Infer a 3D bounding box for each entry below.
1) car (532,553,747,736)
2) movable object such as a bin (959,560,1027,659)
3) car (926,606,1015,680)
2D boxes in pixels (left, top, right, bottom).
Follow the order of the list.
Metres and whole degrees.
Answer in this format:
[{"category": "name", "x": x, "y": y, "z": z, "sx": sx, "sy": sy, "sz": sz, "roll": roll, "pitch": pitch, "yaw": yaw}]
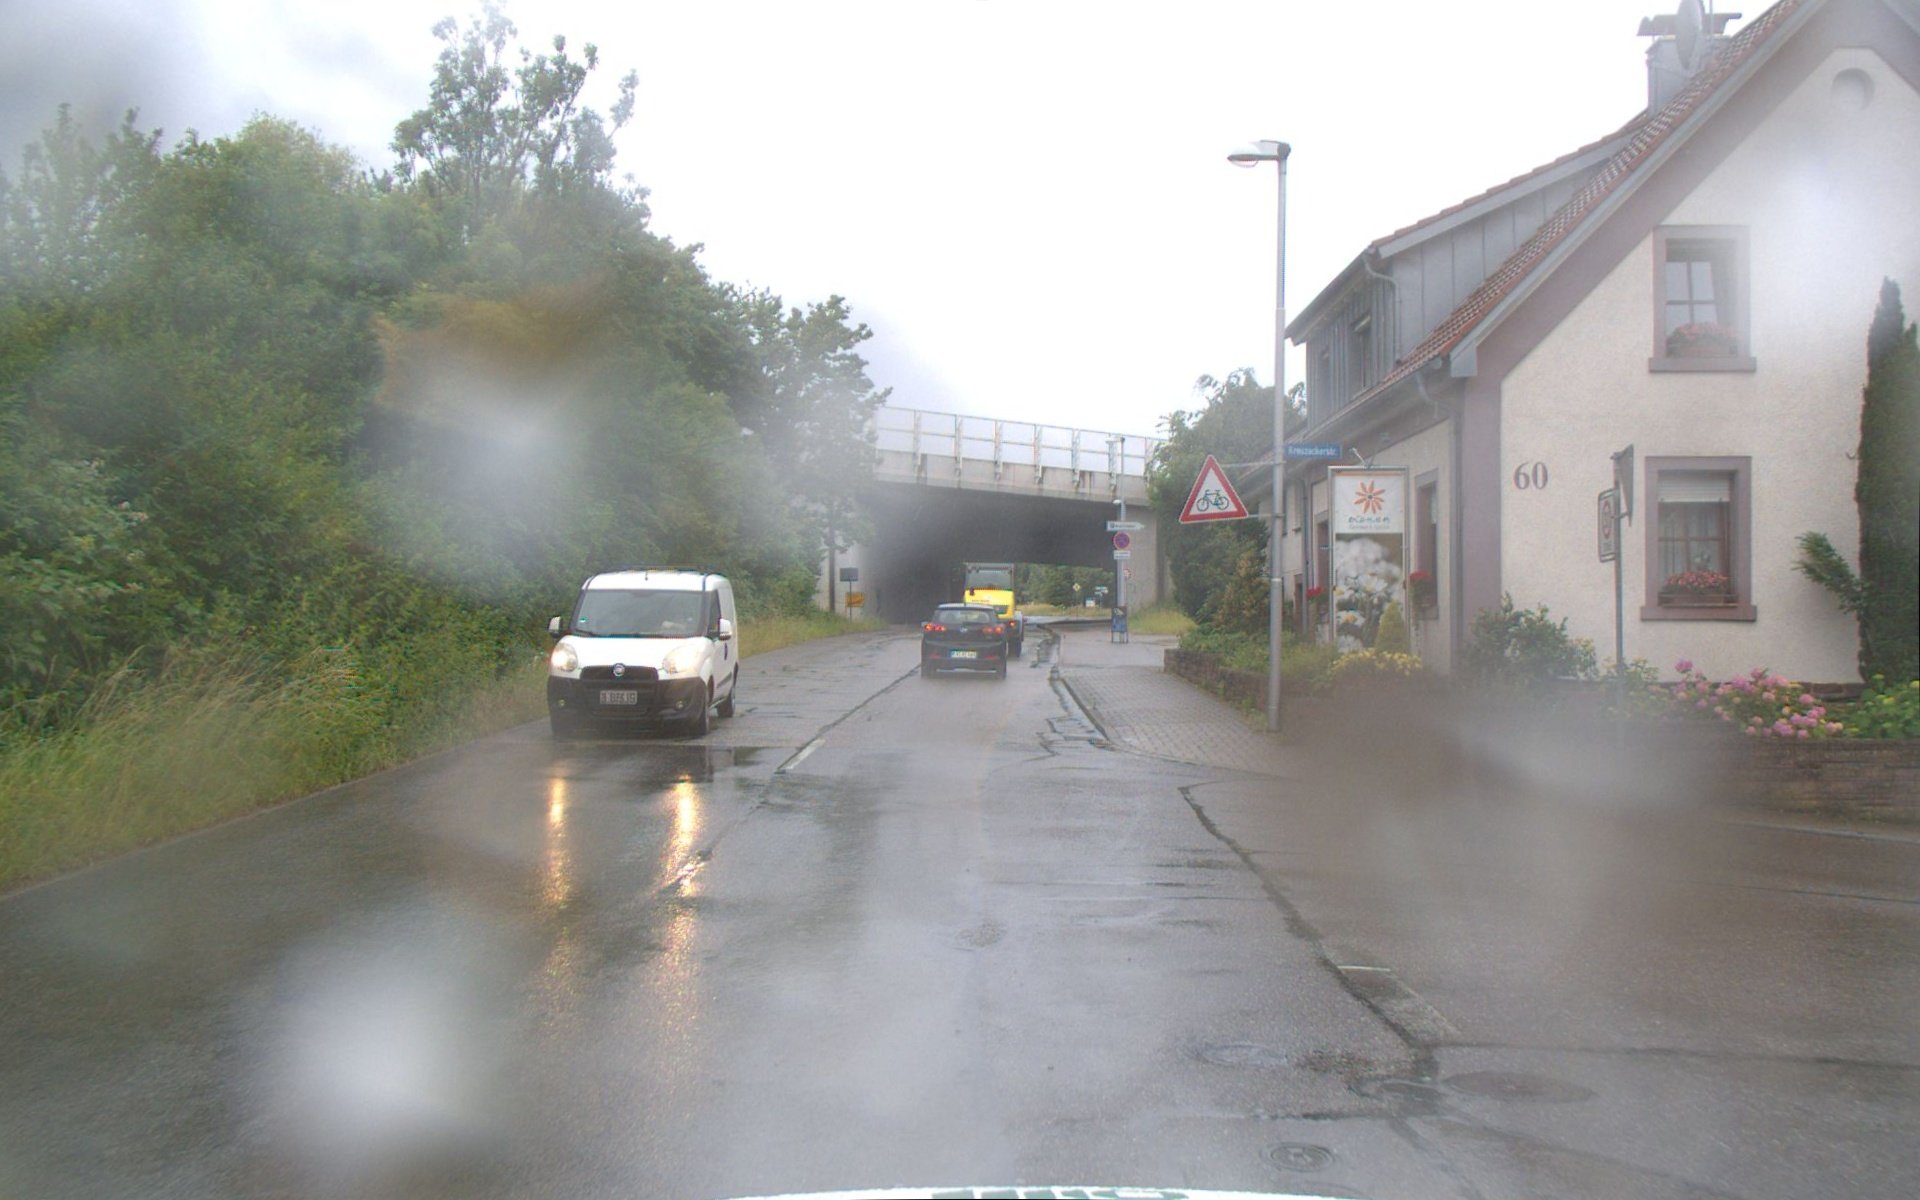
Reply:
[{"category": "car", "x": -3.580, "y": 0.469, "z": 19.224, "sx": 1.787, "sy": 1.864, "sz": 4.305, "roll": 1, "pitch": 0, "yaw": -2}, {"category": "movable object such as a bin", "x": 0.932, "y": 0.262, "z": 45.847, "sx": 1.725, "sy": 2.592, "sz": 4.239, "roll": 1, "pitch": 0, "yaw": 1}, {"category": "car", "x": 0.265, "y": 0.840, "z": 33.843, "sx": 1.673, "sy": 1.401, "sz": 4.001, "roll": 1, "pitch": 0, "yaw": 2}]
